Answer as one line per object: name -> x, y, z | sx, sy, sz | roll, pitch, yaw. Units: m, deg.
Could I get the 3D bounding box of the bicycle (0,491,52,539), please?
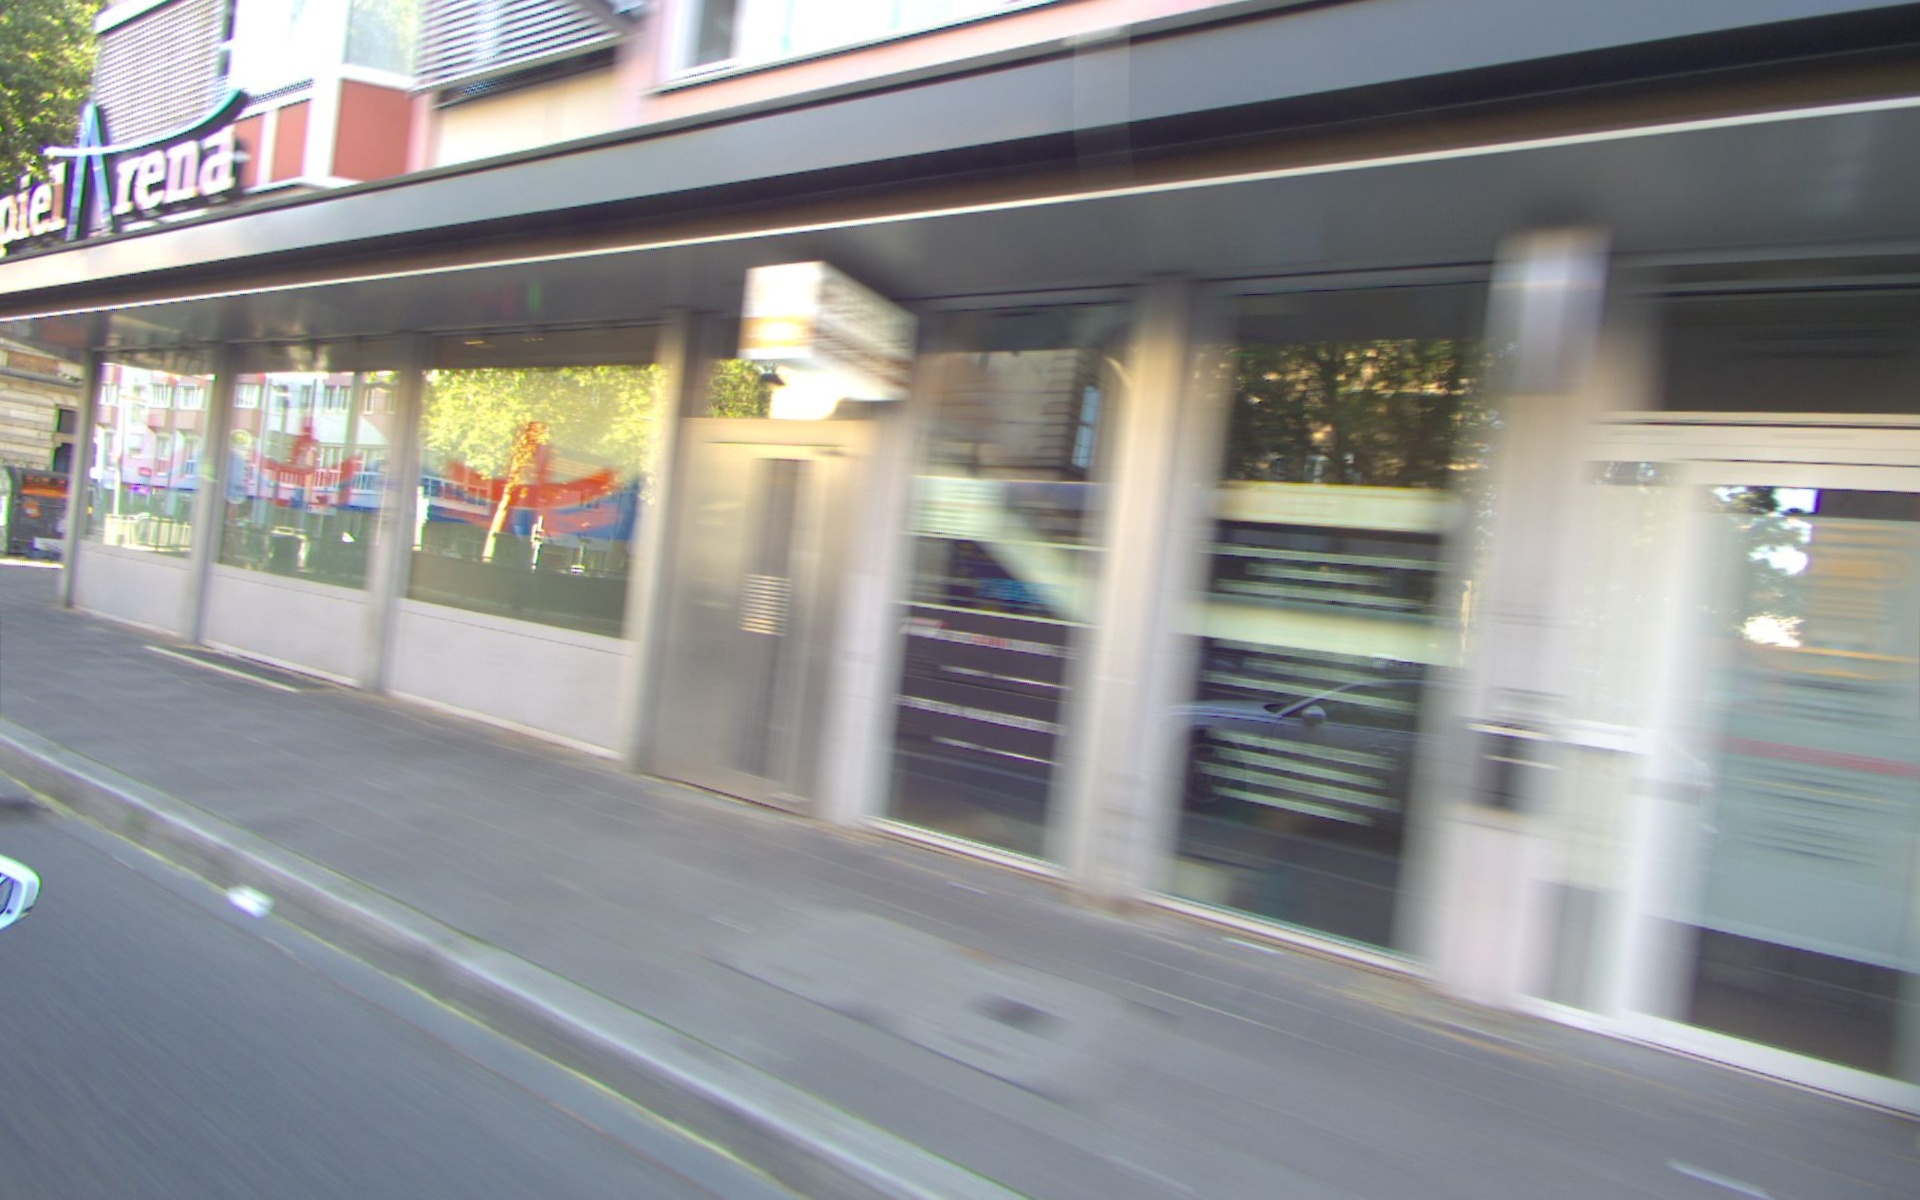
bicycle -> -27.548, -2.514, 29.063 | 2.067, 1.197, 0.616 | 7, 0, 5

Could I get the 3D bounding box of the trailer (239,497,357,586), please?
trailer -> -16.148, -1.448, 24.493 | 3.142, 1.908, 1.571 | 6, 1, 42

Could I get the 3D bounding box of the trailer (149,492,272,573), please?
trailer -> -19.640, -1.788, 26.310 | 3.883, 1.754, 1.961 | 6, 0, 45
